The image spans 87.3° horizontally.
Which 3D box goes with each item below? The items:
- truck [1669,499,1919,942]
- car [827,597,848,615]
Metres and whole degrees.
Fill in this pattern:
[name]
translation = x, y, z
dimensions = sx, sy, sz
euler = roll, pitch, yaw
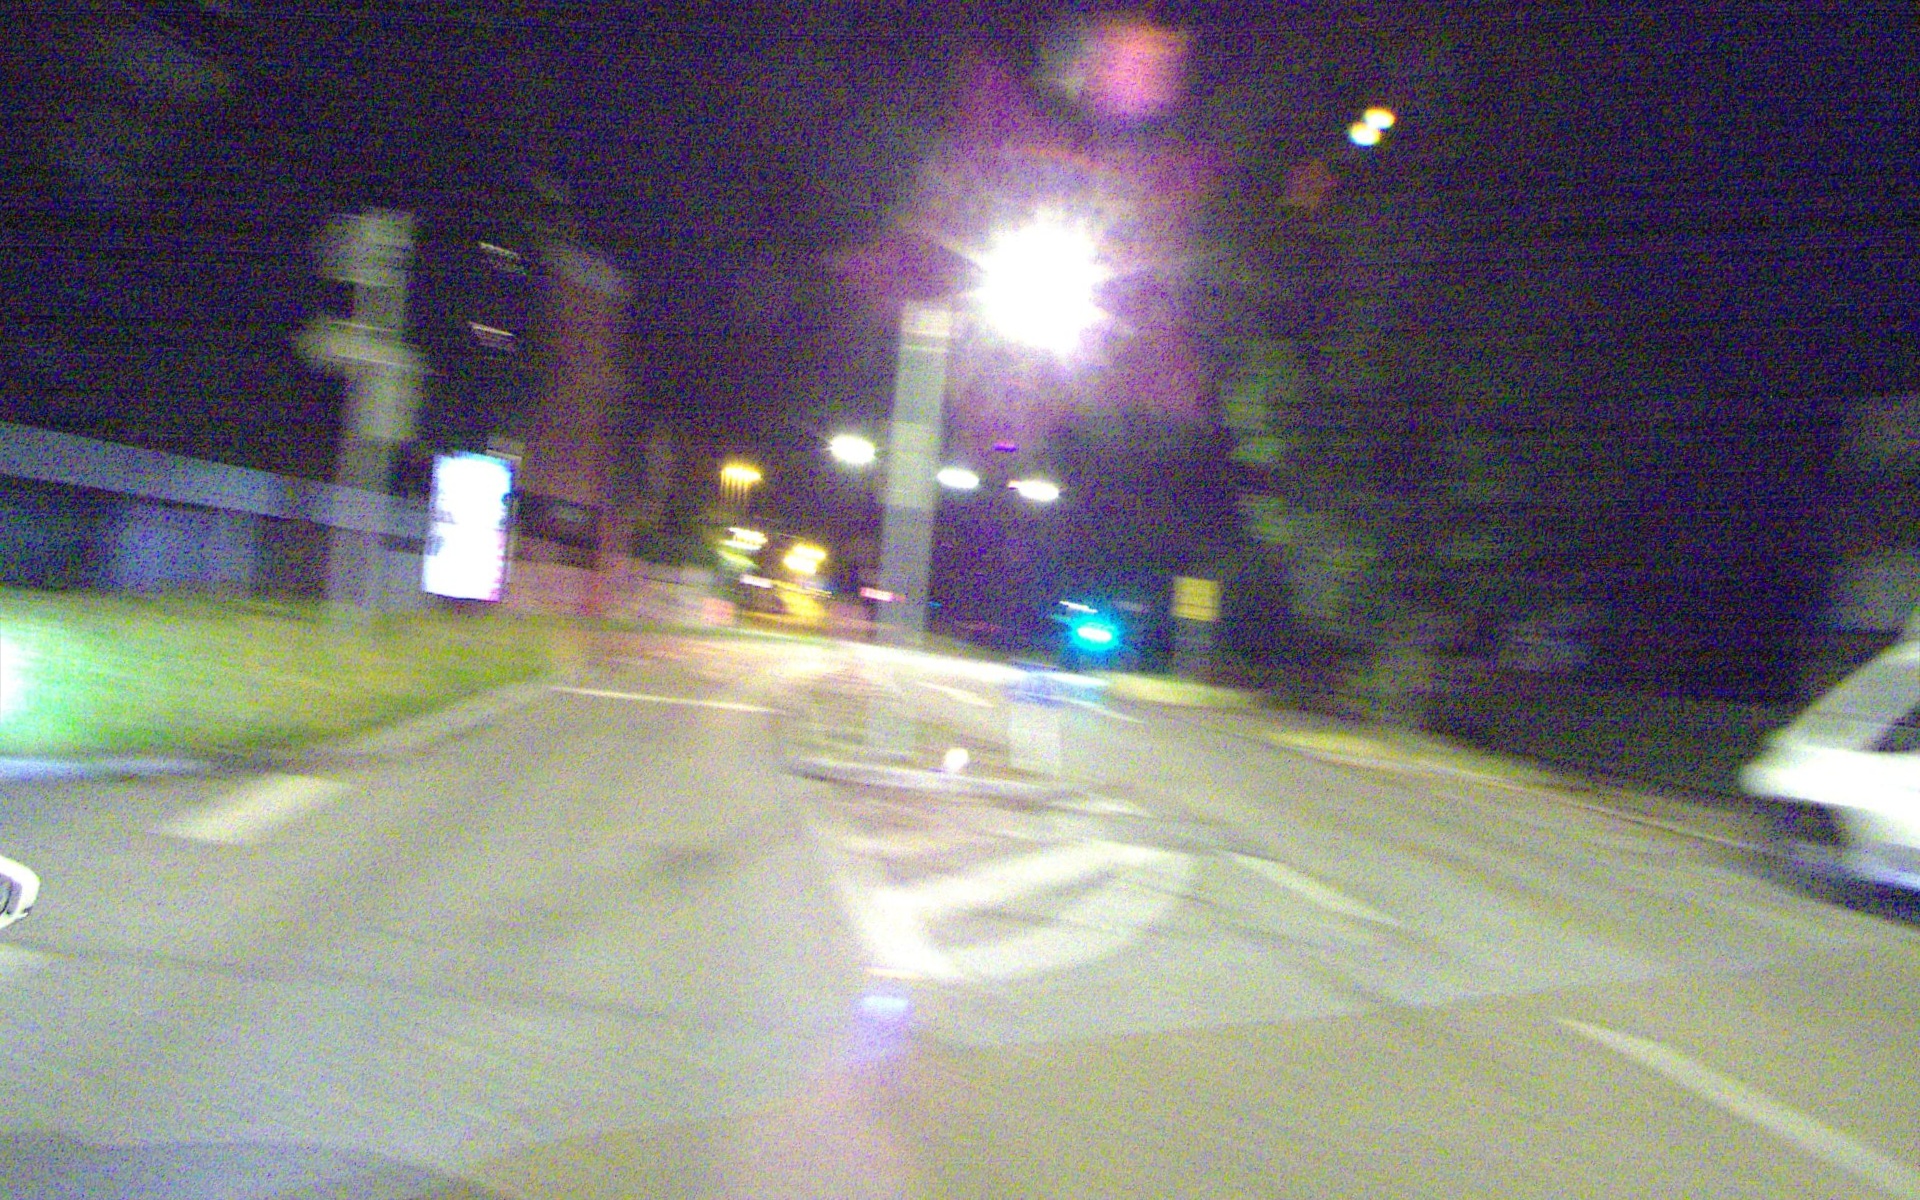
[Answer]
[truck]
translation = 8.361, 0.921, 5.693
dimensions = 2.725, 3.082, 7.024
euler = 4, -1, -11
[car]
translation = -13.625, 0.638, 111.742
dimensions = 1.967, 1.791, 3.993
euler = 7, -1, -11
